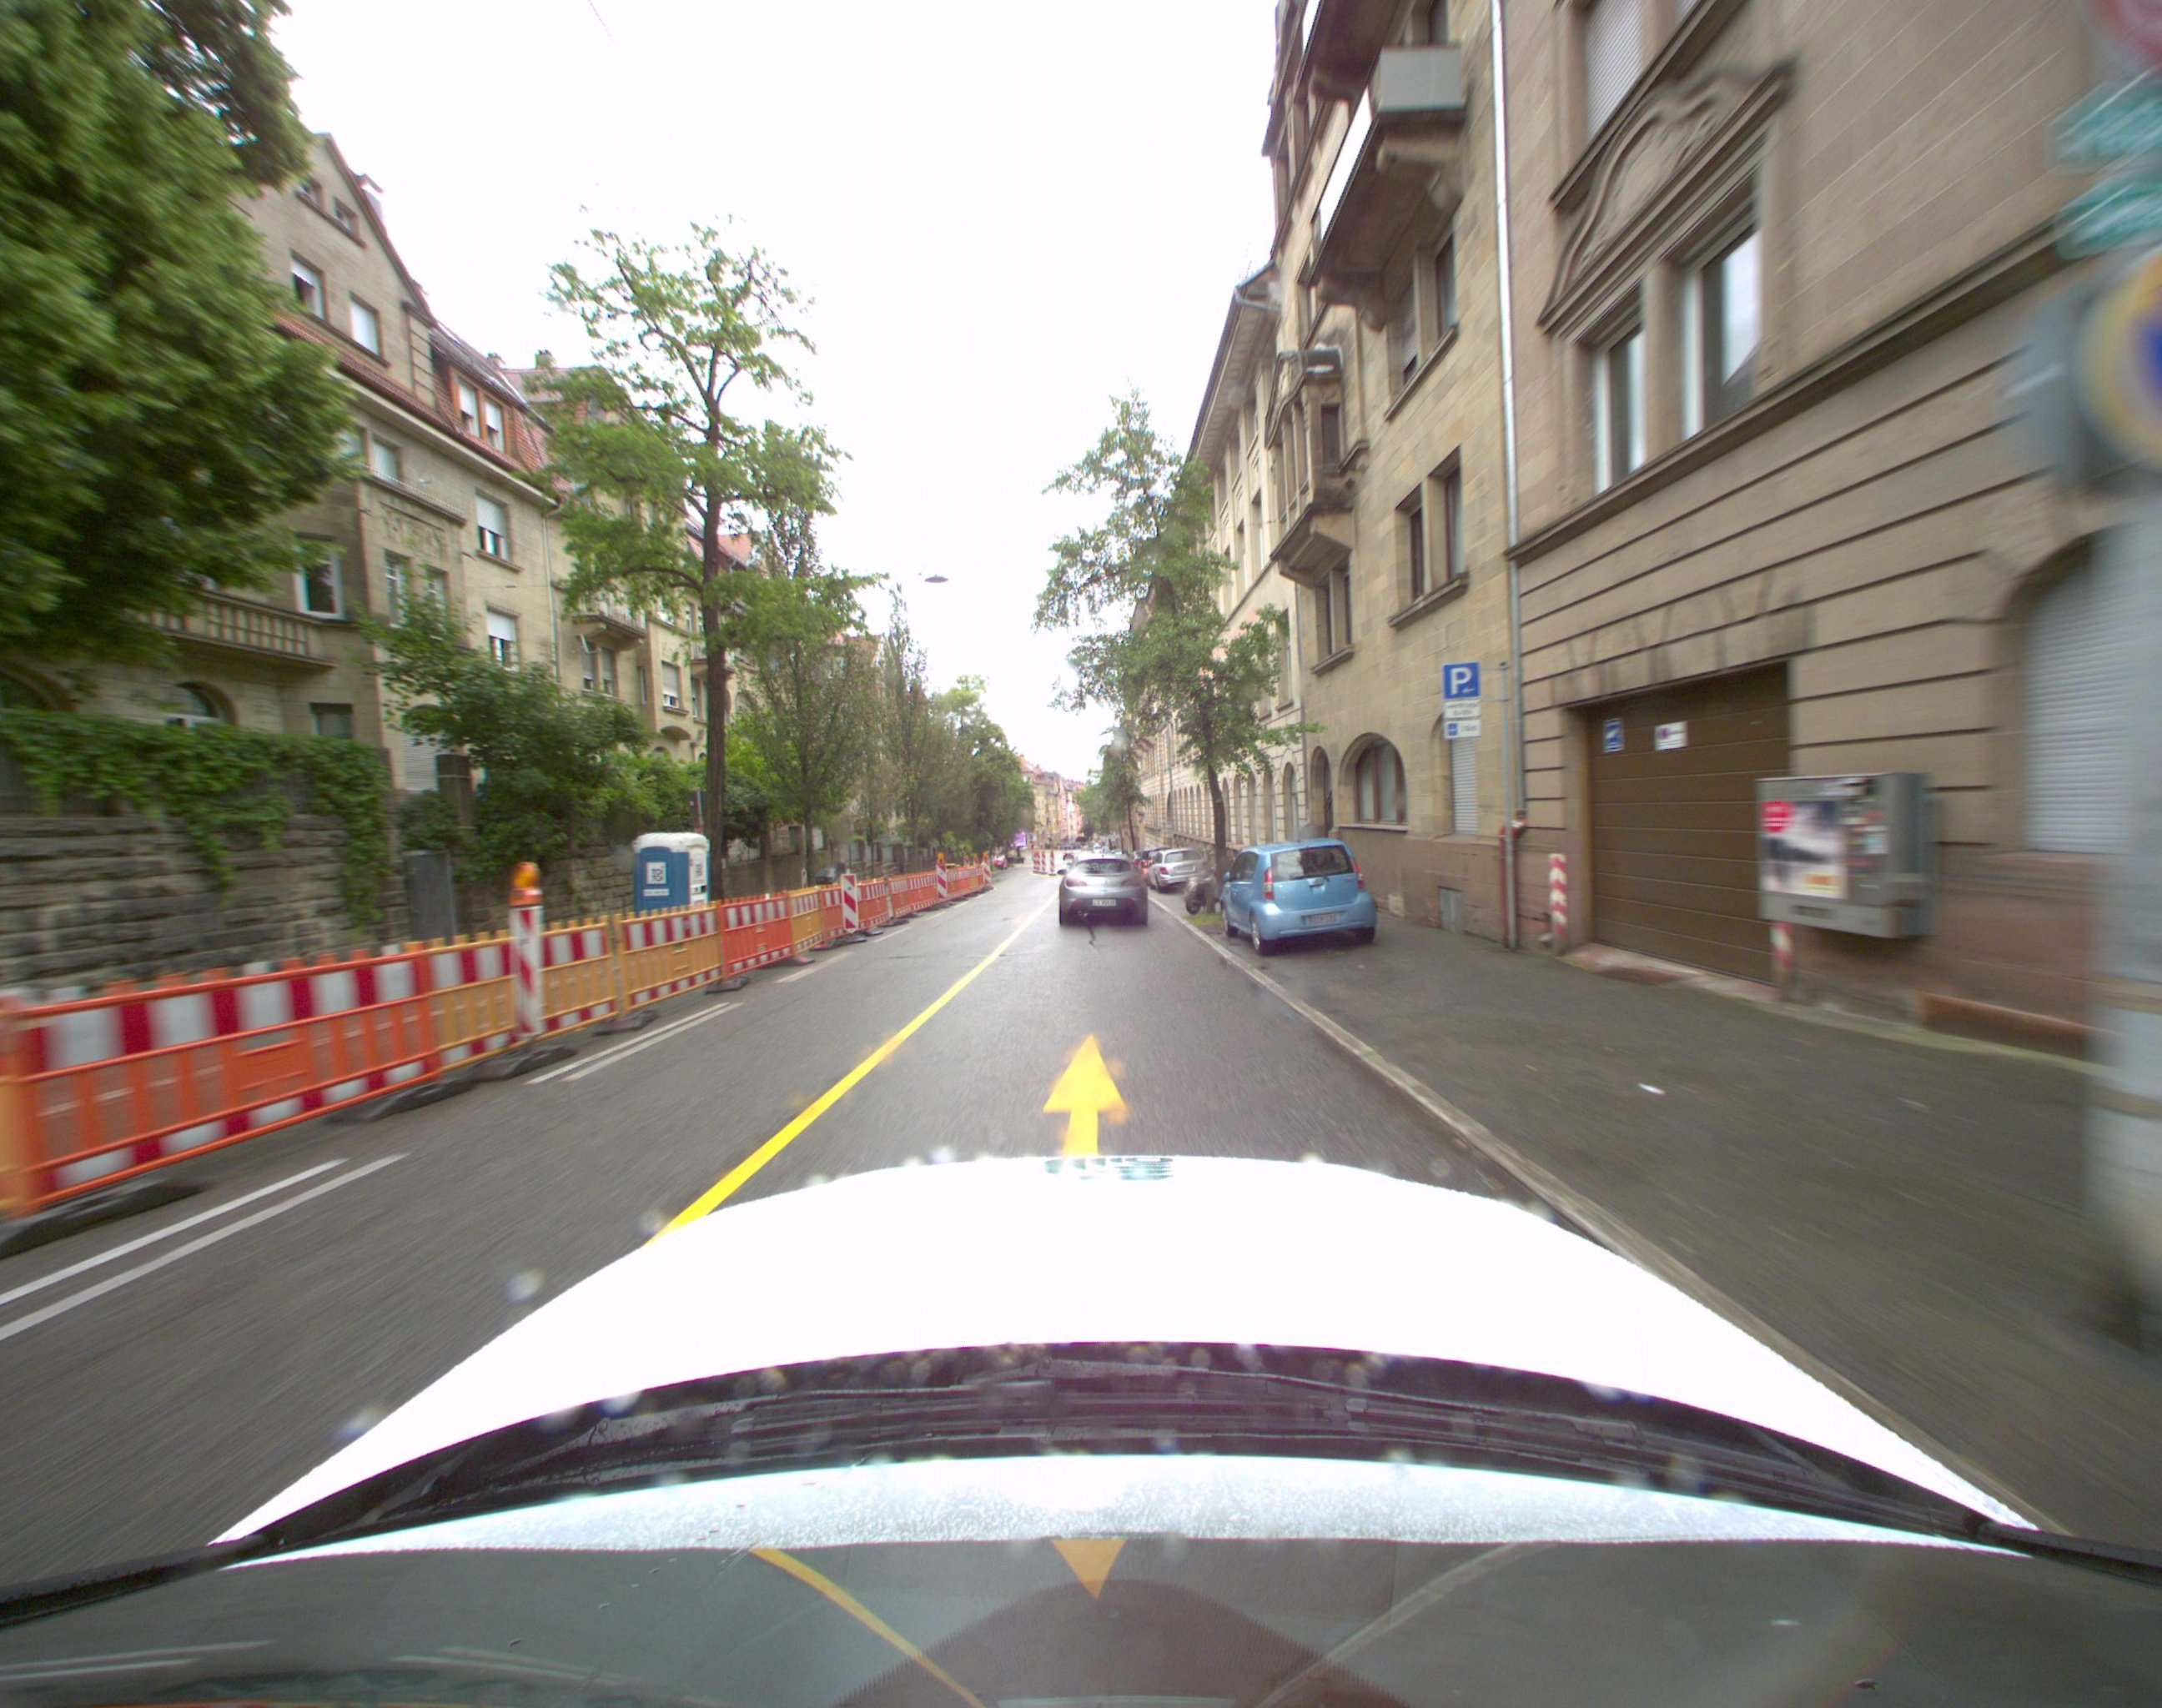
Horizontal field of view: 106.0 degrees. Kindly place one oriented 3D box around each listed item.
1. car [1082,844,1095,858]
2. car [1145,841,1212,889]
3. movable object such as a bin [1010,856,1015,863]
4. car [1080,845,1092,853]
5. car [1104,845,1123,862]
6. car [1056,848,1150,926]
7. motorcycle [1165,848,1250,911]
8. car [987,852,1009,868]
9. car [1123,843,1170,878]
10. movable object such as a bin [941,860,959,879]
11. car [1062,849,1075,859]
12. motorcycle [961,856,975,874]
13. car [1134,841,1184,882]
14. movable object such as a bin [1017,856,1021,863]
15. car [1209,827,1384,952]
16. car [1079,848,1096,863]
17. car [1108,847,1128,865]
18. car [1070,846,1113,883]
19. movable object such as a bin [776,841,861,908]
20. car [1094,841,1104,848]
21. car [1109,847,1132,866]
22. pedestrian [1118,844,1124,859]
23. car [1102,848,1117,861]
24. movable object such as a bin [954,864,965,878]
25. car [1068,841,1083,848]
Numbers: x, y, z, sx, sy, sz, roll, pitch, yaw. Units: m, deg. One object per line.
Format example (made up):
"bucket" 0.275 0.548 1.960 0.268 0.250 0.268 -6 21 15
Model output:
"car" 1.075 -0.463 118.153 1.710 1.782 3.664 -6 0 0
"car" 3.368 0.343 28.947 1.690 1.431 4.420 -5 1 -1
"movable object such as a bin" -10.423 0.846 123.937 0.624 1.058 0.633 0 0 -6
"car" 1.063 -1.091 169.789 1.981 1.684 4.012 0 0 10
"car" 3.419 -0.073 87.071 1.633 1.602 3.855 -3 1 -2
"car" 0.534 0.627 17.909 1.803 1.449 3.873 -1 1 3
"motorcycle" 2.908 0.566 18.616 1.948 1.235 0.650 -6 2 -36
"car" -8.249 0.551 81.085 1.632 1.439 4.080 -3 1 0
"car" 3.183 0.296 40.382 1.752 1.461 4.722 -5 1 -1
"movable object such as a bin" -8.450 1.005 52.516 0.941 1.214 0.856 -1 1 1
"car" -2.093 0.042 133.659 1.989 1.500 3.997 -3 0 -2
"motorcycle" -8.672 0.871 62.715 0.763 1.345 2.203 -1 0 0
"car" 3.257 0.280 34.451 1.634 1.520 3.182 -5 1 -1
"movable object such as a bin" -9.478 0.795 123.872 0.624 1.058 0.719 0 0 -6
"car" 3.168 0.463 12.715 1.651 1.543 3.665 -5 0 0
"car" 0.685 0.161 89.485 1.652 1.543 3.664 -5 0 -1
"car" 3.265 0.188 72.236 1.632 1.469 3.858 -3 1 0
"car" 0.449 0.416 36.394 1.766 1.504 3.869 -1 1 0
"movable object such as a bin" -9.789 0.714 30.590 1.985 2.299 2.818 -3 1 4
"car" 4.425 -2.235 202.216 1.981 1.684 4.012 0 0 10
"car" 3.265 0.218 67.085 1.632 1.429 3.376 -3 1 0
"pedestrian" 5.010 -0.330 101.968 0.713 1.870 0.635 -1 -1 0
"car" 3.555 0.055 101.832 1.632 1.524 3.858 -3 1 0
"movable object such as a bin" -8.198 1.128 54.894 0.601 0.907 0.624 -1 1 1
"car" -1.485 -2.481 215.732 3.974 1.750 2.000 0 0 0
